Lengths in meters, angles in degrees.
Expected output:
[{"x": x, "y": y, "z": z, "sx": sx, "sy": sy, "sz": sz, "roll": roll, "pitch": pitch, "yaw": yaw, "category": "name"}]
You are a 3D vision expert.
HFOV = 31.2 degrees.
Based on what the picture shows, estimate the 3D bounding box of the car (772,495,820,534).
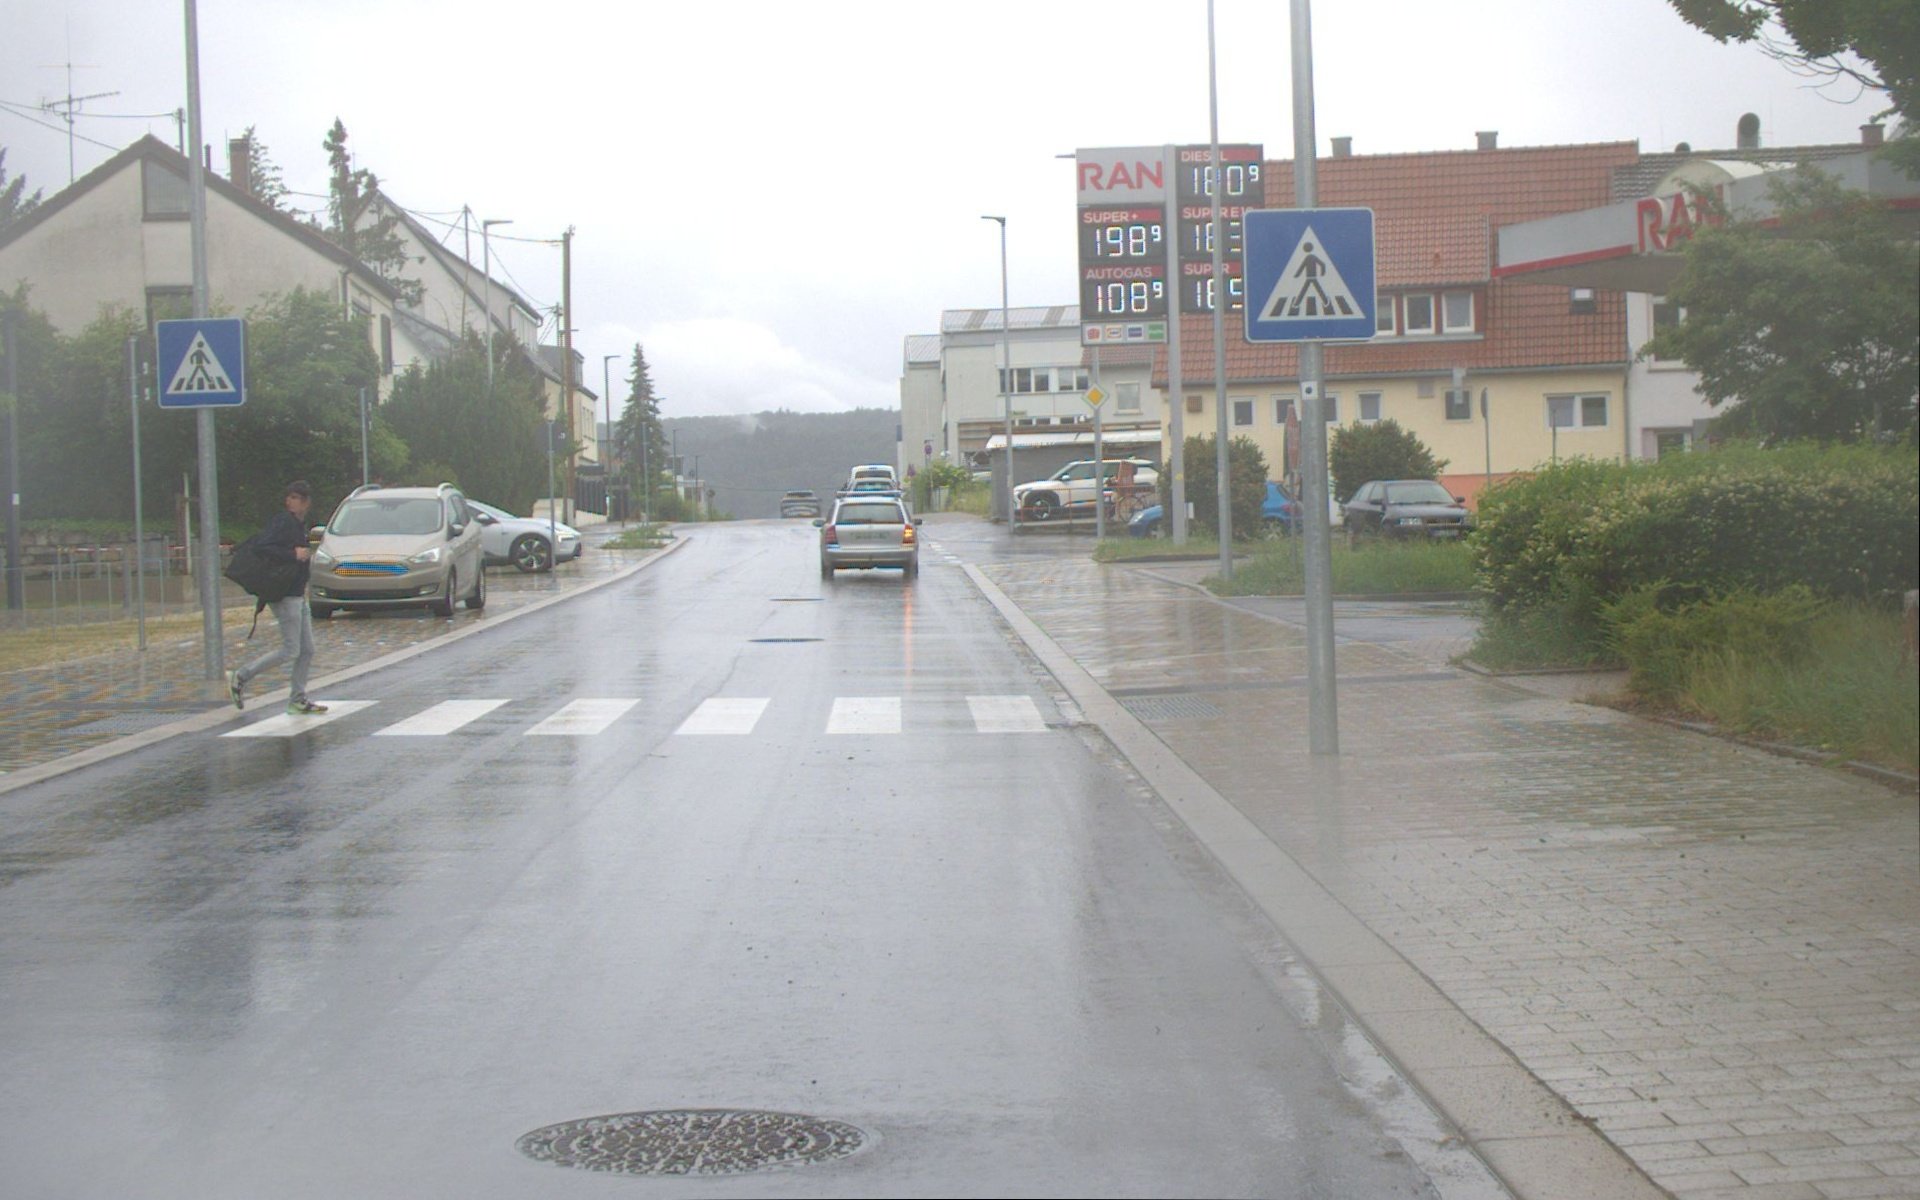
[{"x": -7.904, "y": -4.104, "z": 165.695, "sx": 2.154, "sy": 1.700, "sz": 4.000, "roll": 2, "pitch": 0, "yaw": -1, "category": "car"}]

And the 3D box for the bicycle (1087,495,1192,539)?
[{"x": 4.551, "y": -2.109, "z": 87.462, "sx": 0.668, "sy": 1.063, "sz": 3.629, "roll": 3, "pitch": 0, "yaw": -32, "category": "bicycle"}]

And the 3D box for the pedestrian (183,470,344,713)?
[{"x": -5.020, "y": -0.072, "z": 24.829, "sx": 1.013, "sy": 1.718, "sz": 0.772, "roll": -1, "pitch": 1, "yaw": -3, "category": "pedestrian"}]

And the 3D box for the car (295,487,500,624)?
[{"x": -7.194, "y": -0.614, "z": 44.374, "sx": 1.993, "sy": 1.623, "sz": 4.154, "roll": -2, "pitch": 2, "yaw": -1, "category": "car"}]

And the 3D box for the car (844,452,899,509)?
[{"x": -2.985, "y": -4.040, "z": 116.517, "sx": 1.782, "sy": 1.700, "sz": 4.000, "roll": 2, "pitch": 0, "yaw": -1, "category": "car"}]

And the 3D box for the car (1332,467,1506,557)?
[{"x": 8.793, "y": -1.664, "z": 66.183, "sx": 1.993, "sy": 1.547, "sz": 4.001, "roll": 2, "pitch": 0, "yaw": -13, "category": "car"}]

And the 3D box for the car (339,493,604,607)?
[{"x": -9.483, "y": -0.959, "z": 67.018, "sx": 4.753, "sy": 2.007, "sz": 2.000, "roll": 2, "pitch": 0, "yaw": 3, "category": "car"}]

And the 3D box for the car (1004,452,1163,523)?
[{"x": 3.366, "y": -3.061, "z": 94.083, "sx": 4.112, "sy": 1.700, "sz": 1.789, "roll": 2, "pitch": 0, "yaw": -4, "category": "car"}]

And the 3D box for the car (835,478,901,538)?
[{"x": -2.916, "y": -2.921, "z": 109.785, "sx": 1.993, "sy": 1.700, "sz": 4.000, "roll": 2, "pitch": 0, "yaw": -1, "category": "car"}]

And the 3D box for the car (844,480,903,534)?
[{"x": -3.084, "y": -3.316, "z": 123.199, "sx": 1.993, "sy": 1.700, "sz": 4.000, "roll": 2, "pitch": 0, "yaw": -1, "category": "car"}]

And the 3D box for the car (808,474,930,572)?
[{"x": -1.637, "y": -1.322, "z": 60.606, "sx": 1.948, "sy": 1.550, "sz": 4.000, "roll": 2, "pitch": 0, "yaw": -4, "category": "car"}]

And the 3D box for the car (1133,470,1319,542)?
[{"x": 6.238, "y": -2.191, "z": 80.412, "sx": 3.990, "sy": 1.488, "sz": 1.856, "roll": 2, "pitch": 0, "yaw": 16, "category": "car"}]
